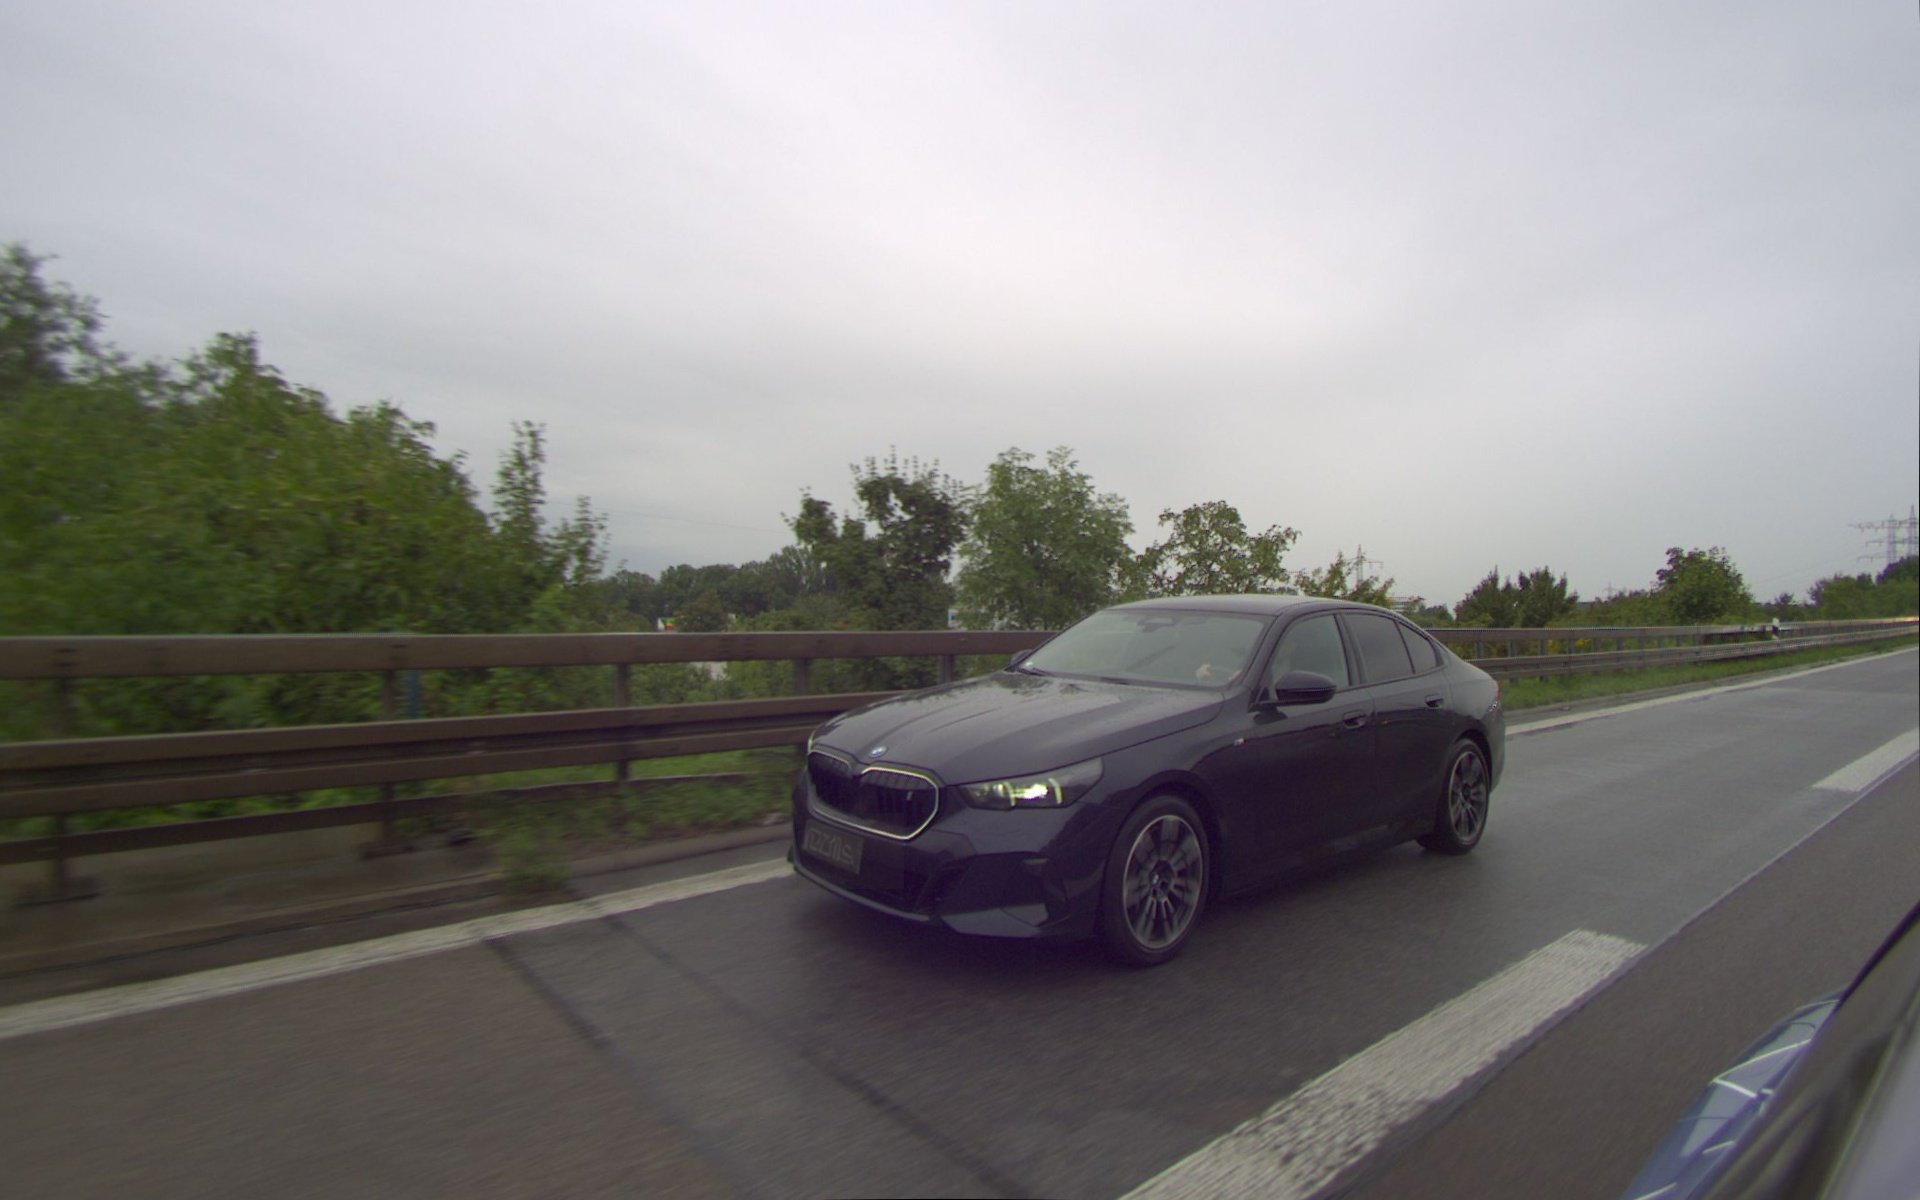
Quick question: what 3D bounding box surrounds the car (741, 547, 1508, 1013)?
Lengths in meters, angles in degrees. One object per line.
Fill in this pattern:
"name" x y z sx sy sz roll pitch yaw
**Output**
"car" 1.129 0.612 5.450 4.129 1.560 1.861 1 0 -40
